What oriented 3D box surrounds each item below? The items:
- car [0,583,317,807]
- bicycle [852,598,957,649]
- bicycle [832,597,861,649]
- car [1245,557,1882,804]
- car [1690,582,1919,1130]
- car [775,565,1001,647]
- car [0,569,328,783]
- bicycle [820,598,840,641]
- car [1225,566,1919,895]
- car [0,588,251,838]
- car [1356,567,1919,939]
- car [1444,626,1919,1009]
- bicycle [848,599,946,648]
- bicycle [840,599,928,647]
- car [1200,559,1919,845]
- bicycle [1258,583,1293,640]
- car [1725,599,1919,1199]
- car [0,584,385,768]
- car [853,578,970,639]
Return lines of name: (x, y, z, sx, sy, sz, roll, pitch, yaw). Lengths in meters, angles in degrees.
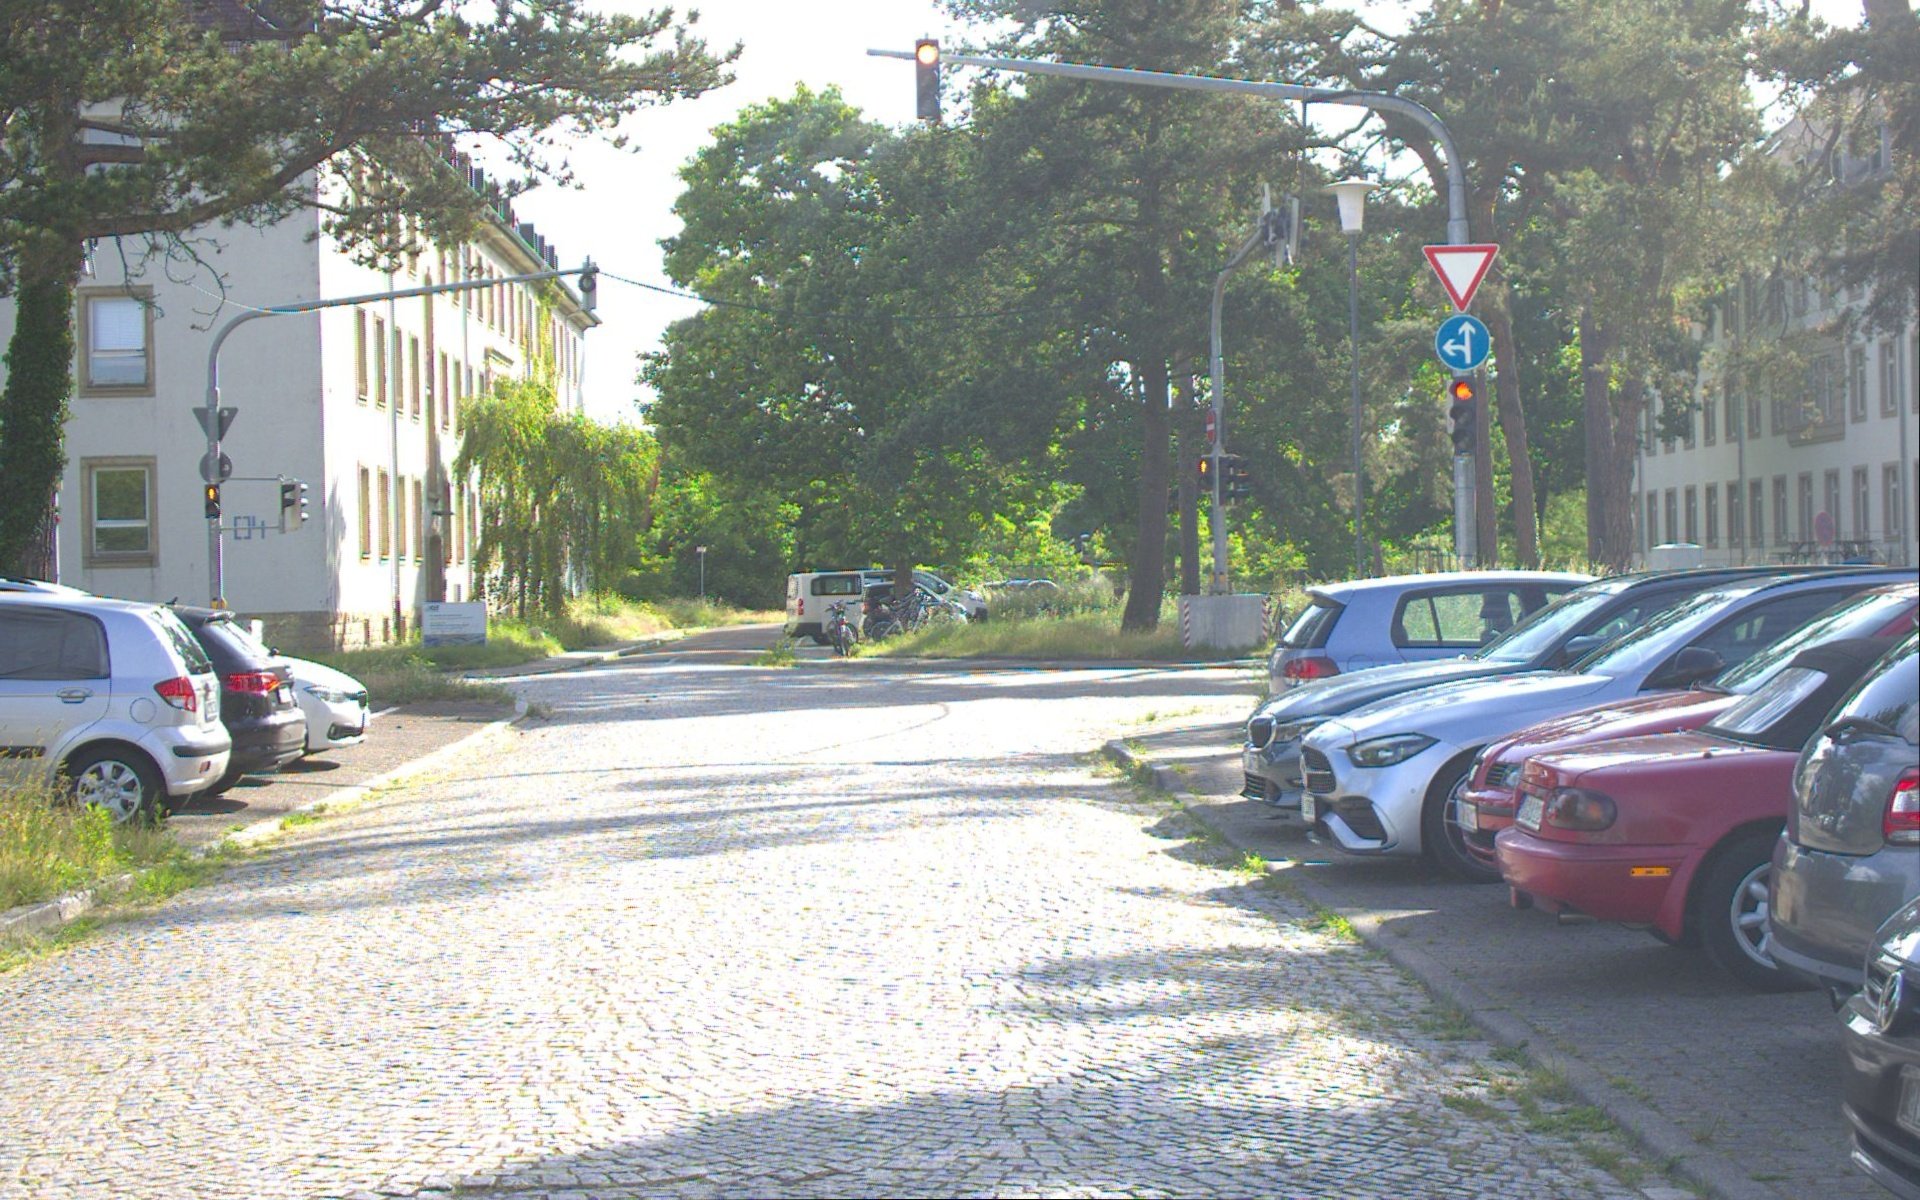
car: (-6.682, 0.635, 24.351, 3.986, 1.475, 1.803, 1, 1, -4)
bicycle: (-1.158, 0.493, 71.785, 2.108, 1.007, 0.621, 1, 0, -9)
bicycle: (-2.249, 0.458, 68.081, 0.467, 1.007, 1.586, 1, 0, -5)
car: (3.945, 0.505, 22.874, 3.882, 1.410, 1.637, -2, 1, -1)
car: (4.272, 0.628, 10.298, 3.707, 1.444, 1.816, -2, 1, -1)
car: (-1.872, 0.158, 89.626, 5.520, 2.007, 2.001, 1, 0, -19)
car: (-7.200, 0.563, 27.302, 4.079, 1.588, 1.886, 1, 1, -4)
bicycle: (-3.066, 0.465, 81.278, 0.417, 1.007, 1.483, 1, 0, -1)
car: (3.661, 0.600, 17.373, 4.432, 1.410, 1.781, -2, 1, -1)
car: (-6.495, 0.668, 21.728, 3.745, 1.482, 1.646, 1, 1, -4)
car: (3.954, 0.604, 15.295, 4.127, 1.444, 1.637, -2, 1, -1)
car: (3.823, 0.727, 12.893, 3.707, 1.219, 1.746, -2, 1, -1)
bicycle: (-1.355, 0.497, 73.368, 2.004, 1.007, 0.632, 1, 0, -9)
bicycle: (-1.658, 0.499, 75.119, 1.837, 1.007, 0.636, 1, 0, -9)
car: (3.779, 0.556, 20.091, 4.559, 1.410, 1.637, -2, 1, -1)
bicycle: (5.472, 0.199, 59.685, 0.300, 0.957, 1.586, 1, 0, -5)
car: (3.746, 0.672, 7.420, 3.707, 1.444, 1.856, -2, 1, -1)
car: (-7.239, 0.629, 29.640, 4.333, 1.463, 1.831, 1, 1, -4)
car: (-1.233, 0.214, 86.135, 2.781, 1.462, 1.671, 1, 0, -6)
